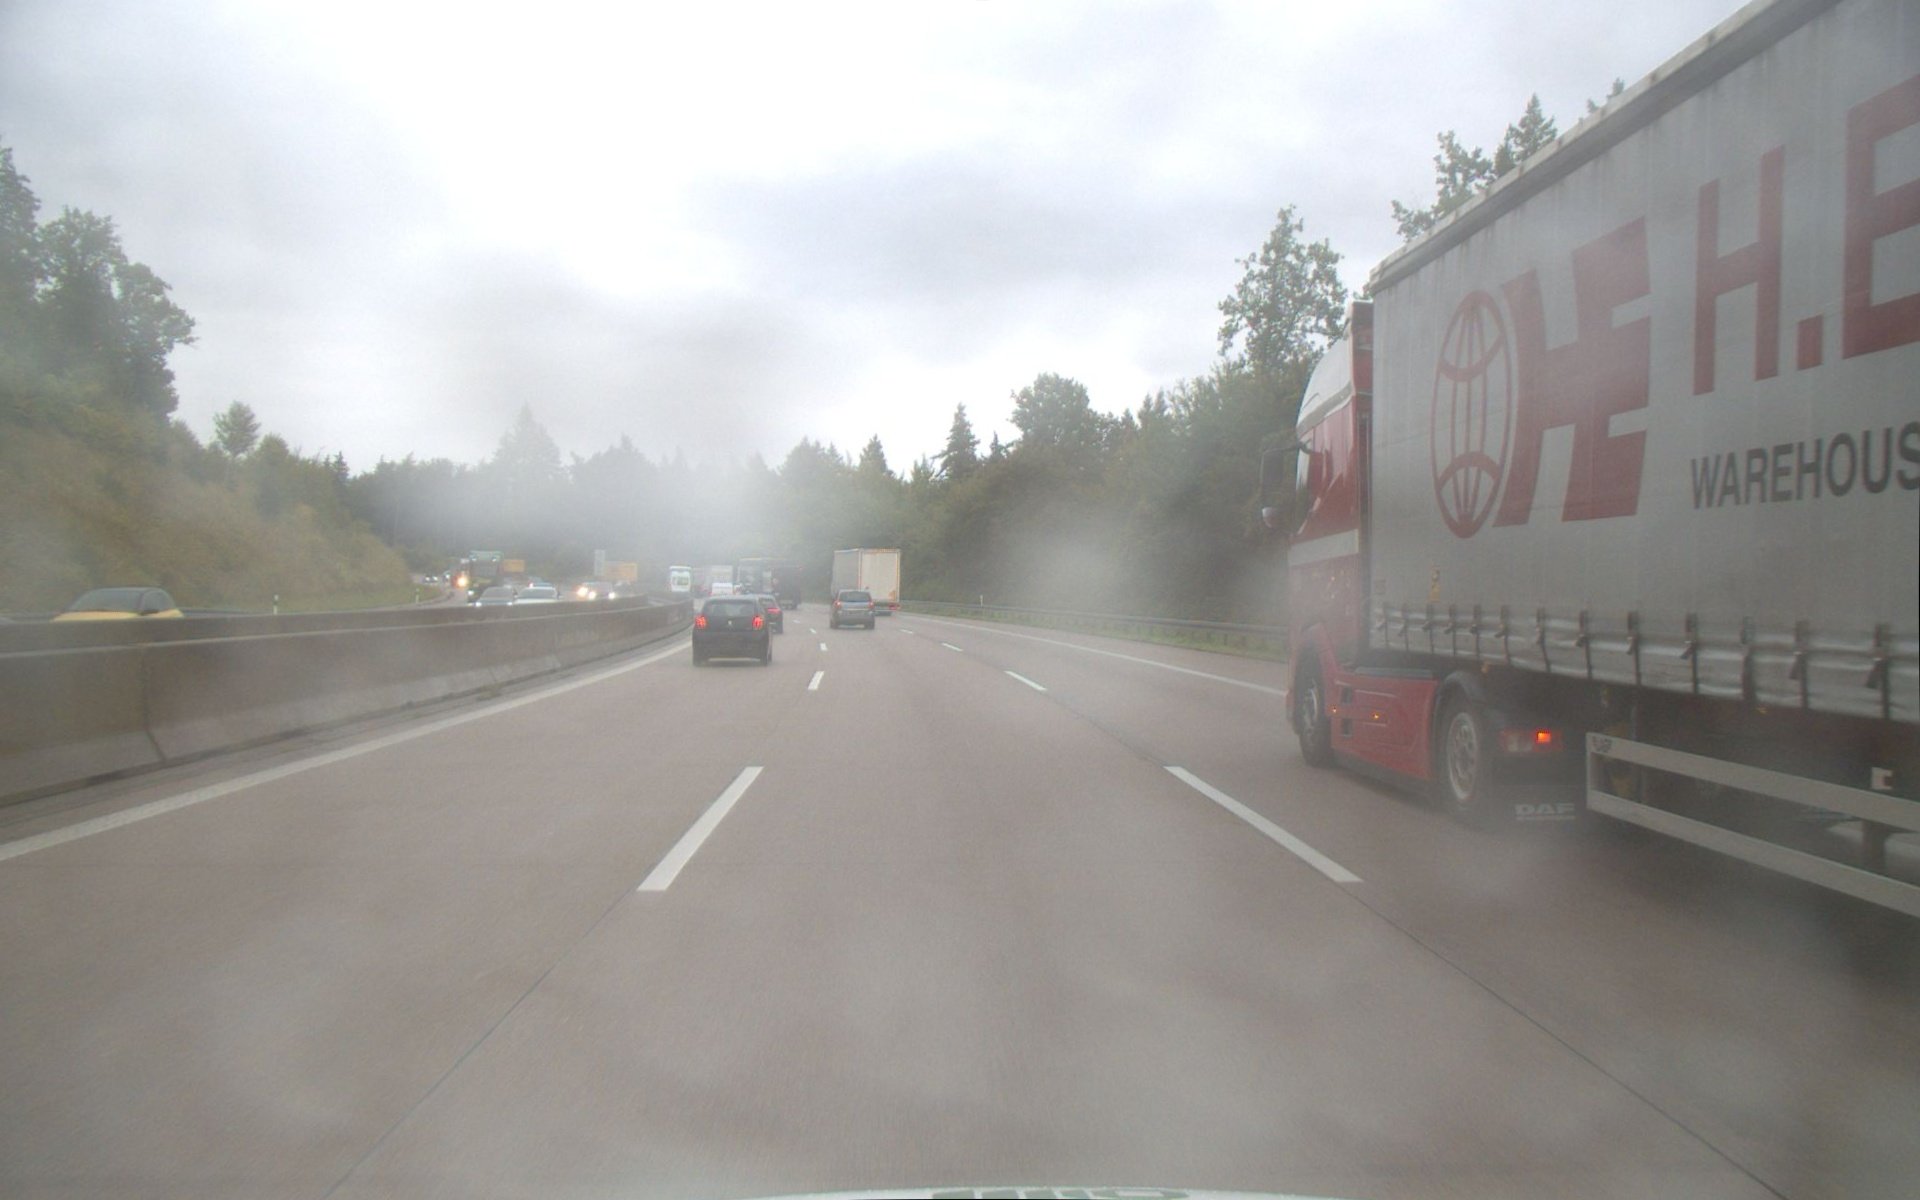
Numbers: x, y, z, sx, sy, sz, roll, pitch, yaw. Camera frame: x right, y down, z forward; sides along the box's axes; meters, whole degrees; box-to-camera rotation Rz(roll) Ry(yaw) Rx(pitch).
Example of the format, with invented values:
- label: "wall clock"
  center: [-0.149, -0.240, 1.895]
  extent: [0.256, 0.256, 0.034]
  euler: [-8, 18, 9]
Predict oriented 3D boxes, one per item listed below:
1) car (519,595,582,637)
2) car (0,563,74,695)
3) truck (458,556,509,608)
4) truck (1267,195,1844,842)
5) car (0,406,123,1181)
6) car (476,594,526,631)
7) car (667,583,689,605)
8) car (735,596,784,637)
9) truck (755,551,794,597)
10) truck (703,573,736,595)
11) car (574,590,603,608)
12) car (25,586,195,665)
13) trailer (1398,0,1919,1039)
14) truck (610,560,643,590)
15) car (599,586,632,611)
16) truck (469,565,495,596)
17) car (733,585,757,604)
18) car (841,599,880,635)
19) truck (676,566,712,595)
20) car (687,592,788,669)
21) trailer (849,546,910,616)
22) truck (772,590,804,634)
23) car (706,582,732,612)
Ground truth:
- label: "car"
  center: [-16.234, 0.621, 65.756]
  extent: [1.707, 1.588, 4.280]
  euler: [0, 0, -4]
- label: "car"
  center: [-12.355, 0.343, 19.467]
  extent: [1.827, 1.575, 3.998]
  euler: [0, 0, -3]
- label: "truck"
  center: [-38.603, -1.425, 134.183]
  extent: [2.872, 4.030, 8.102]
  euler: [0, 0, -9]
- label: "truck"
  center: [4.302, -0.532, 13.418]
  extent: [2.327, 4.023, 6.158]
  euler: [-1, 0, -1]
- label: "car"
  center: [-3.338, 0.500, 1.744]
  extent: [1.869, 1.979, 6.161]
  euler: [0, 0, -1]
- label: "car"
  center: [-21.890, 0.588, 79.015]
  extent: [1.775, 1.713, 3.992]
  euler: [0, 0, -8]
- label: "car"
  center: [-27.343, -0.609, 160.439]
  extent: [1.956, 2.095, 3.992]
  euler: [0, 0, -8]
- label: "car"
  center: [-7.356, 0.577, 60.893]
  extent: [1.523, 1.375, 3.681]
  euler: [3, 0, -4]
- label: "truck"
  center: [-17.894, -2.537, 159.045]
  extent: [3.306, 4.203, 10.418]
  euler: [1, 1, -8]
- label: "truck"
  center: [-27.653, -1.859, 190.152]
  extent: [2.925, 2.349, 6.641]
  euler: [3, 0, -15]
- label: "car"
  center: [-33.187, -0.120, 147.837]
  extent: [1.955, 1.612, 4.765]
  euler: [0, 0, -7]
- label: "car"
  center: [-17.168, 0.472, 33.645]
  extent: [1.543, 1.513, 4.279]
  euler: [0, 0, -5]
- label: "trailer"
  center: [4.436, -0.514, 5.782]
  extent: [2.322, 4.023, 12.518]
  euler: [0, 0, -1]
- label: "truck"
  center: [-49.040, -3.587, 242.972]
  extent: [3.686, 4.283, 6.776]
  euler: [0, 0, -21]
- label: "car"
  center: [-25.176, -0.125, 120.965]
  extent: [1.955, 1.799, 4.531]
  euler: [0, 0, -7]
- label: "truck"
  center: [-62.767, -2.590, 217.340]
  extent: [2.857, 3.957, 7.340]
  euler: [1, 0, -13]
- label: "car"
  center: [-18.078, -0.453, 139.392]
  extent: [1.846, 1.498, 3.995]
  euler: [3, 0, -7]
- label: "car"
  center: [-4.116, 0.694, 69.058]
  extent: [1.523, 1.375, 3.682]
  euler: [3, 0, -3]
- label: "truck"
  center: [-28.978, -2.151, 179.956]
  extent: [3.032, 2.956, 7.871]
  euler: [1, 1, -16]
- label: "car"
  center: [-4.761, 0.622, 35.824]
  extent: [1.649, 1.487, 3.683]
  euler: [3, 0, 0]
- label: "trailer"
  center: [-5.257, -1.249, 105.734]
  extent: [2.376, 4.139, 12.026]
  euler: [1, 1, -10]
- label: "truck"
  center: [-12.883, 0.839, 123.624]
  extent: [2.226, 2.937, 7.894]
  euler: [1, 1, -6]
- label: "car"
  center: [-16.941, -0.210, 116.244]
  extent: [1.692, 2.049, 3.651]
  euler: [0, 0, -7]
